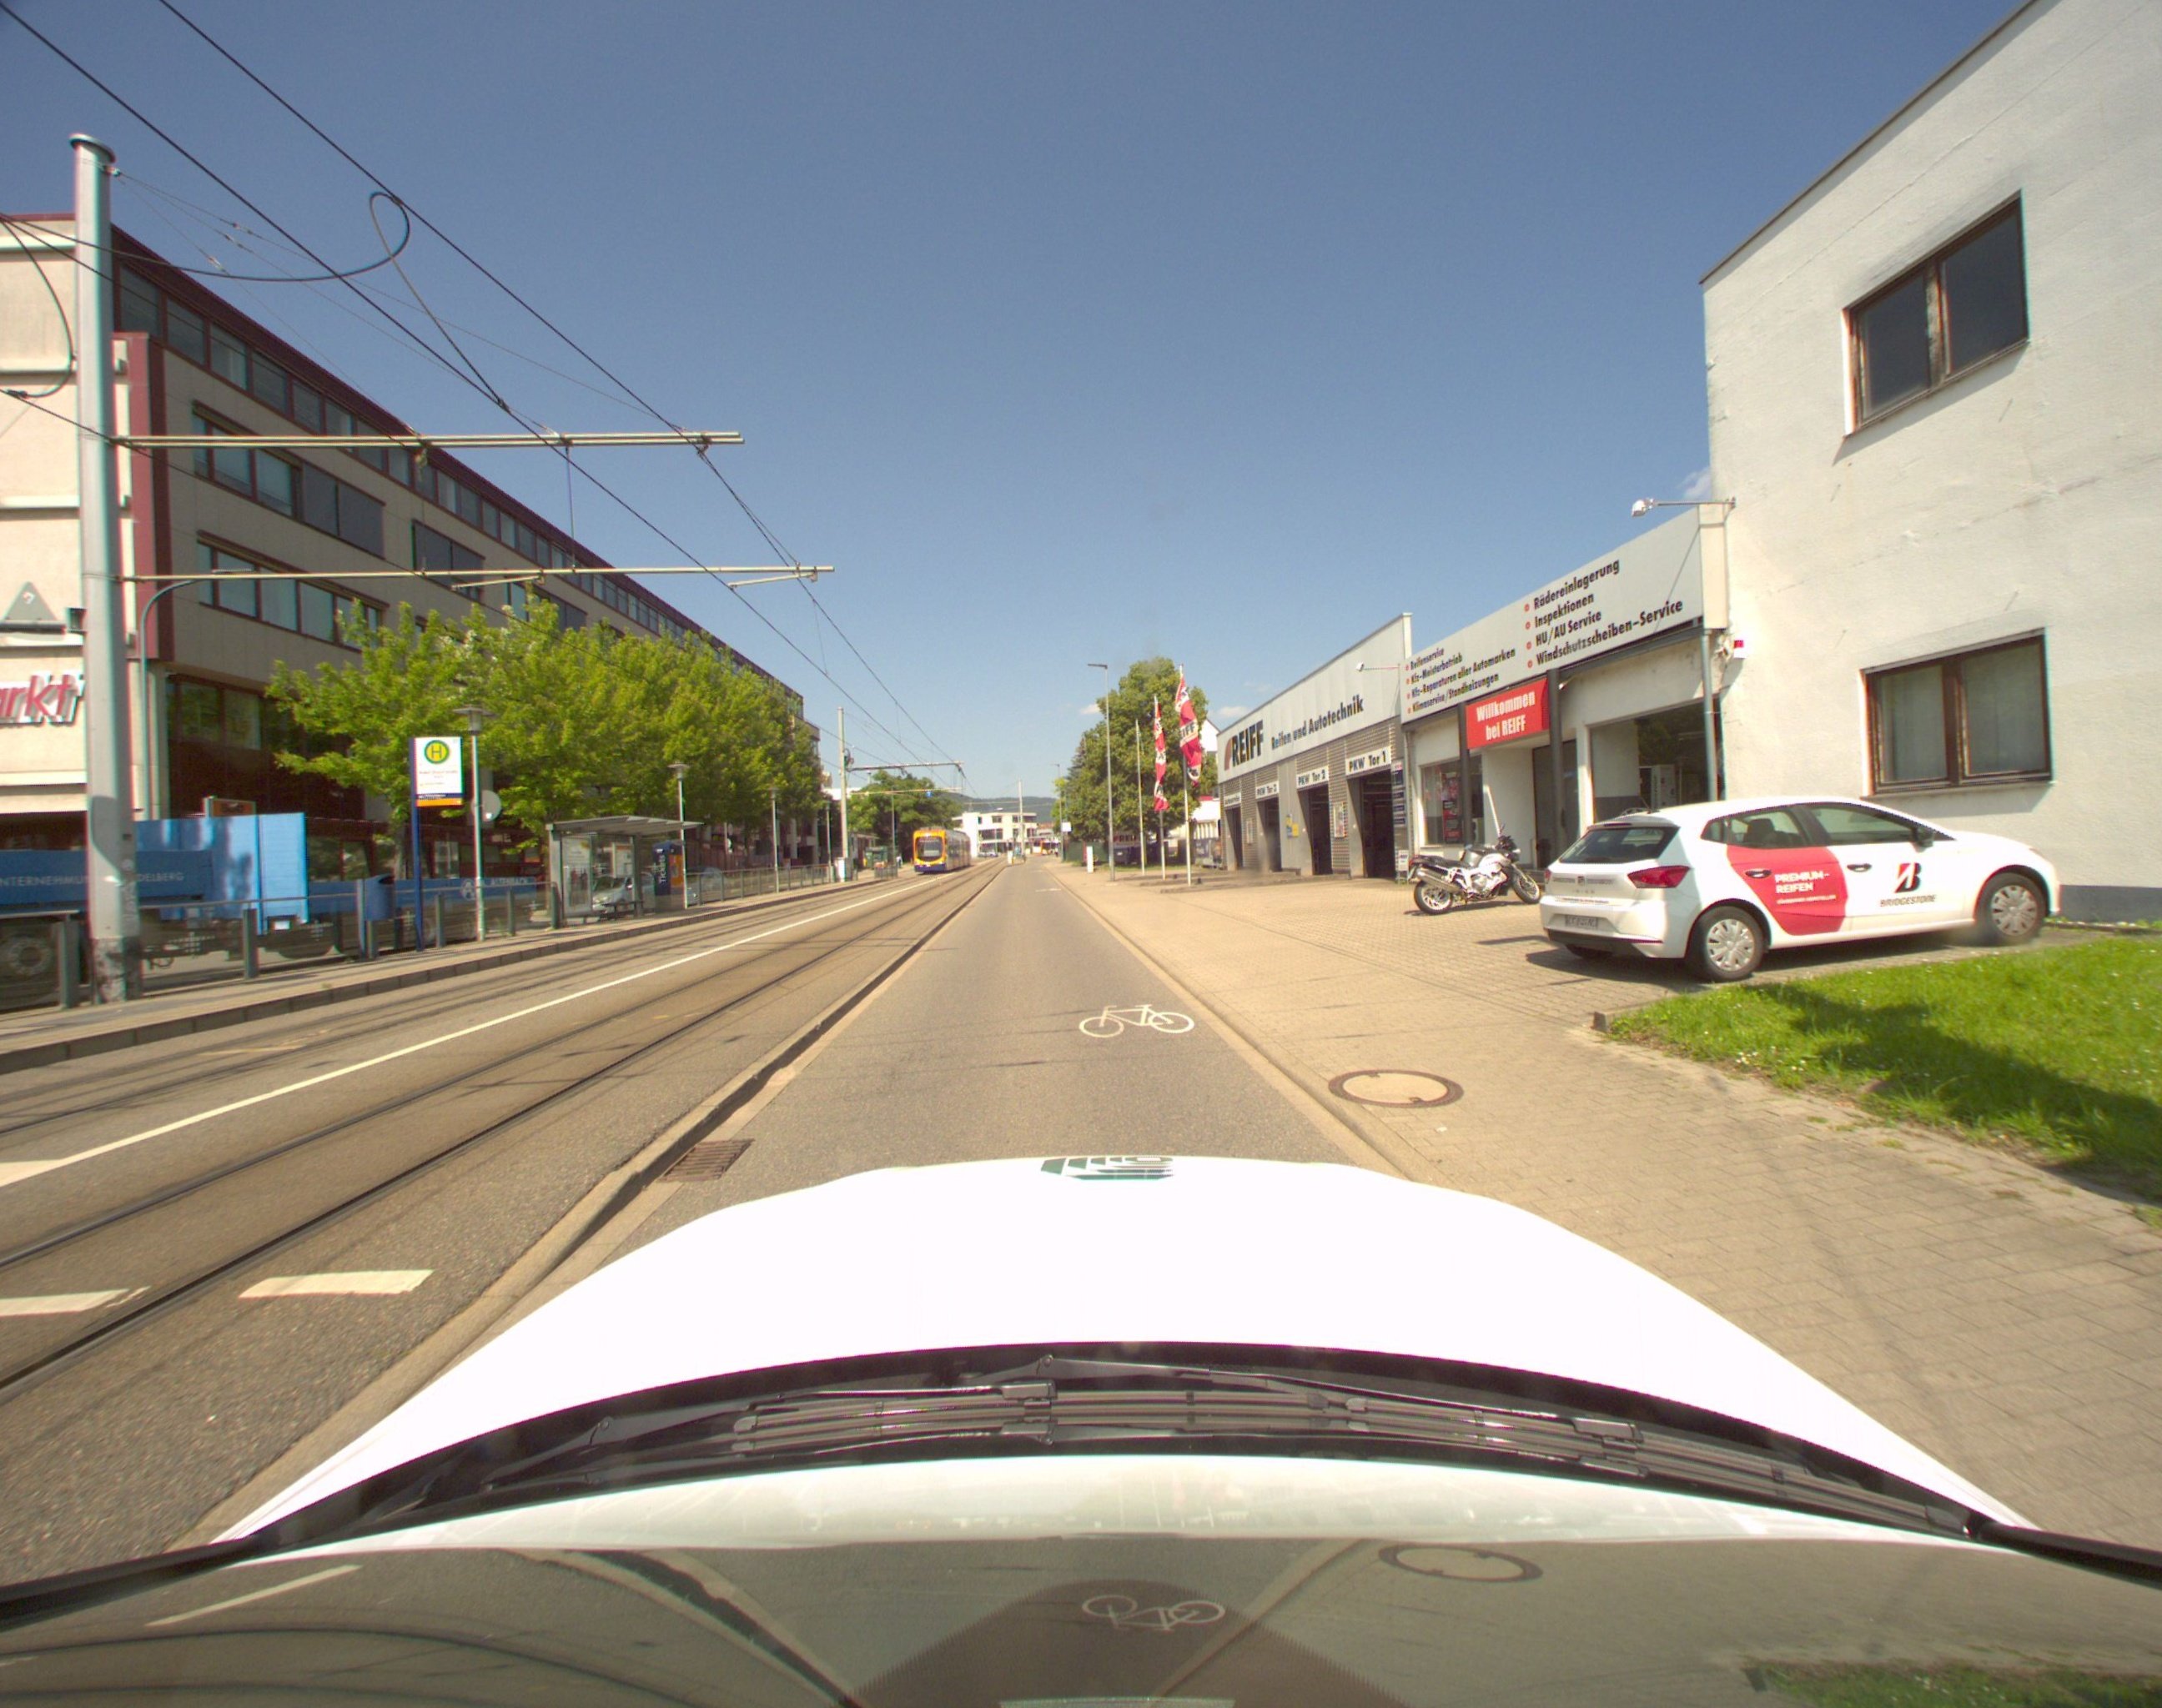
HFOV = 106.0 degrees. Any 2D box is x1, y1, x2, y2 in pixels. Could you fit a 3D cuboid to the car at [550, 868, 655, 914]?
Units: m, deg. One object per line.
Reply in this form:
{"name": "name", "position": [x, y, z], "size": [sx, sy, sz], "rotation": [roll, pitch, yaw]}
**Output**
{"name": "car", "position": [-17.684, 1.329, 30.330], "size": [1.719, 1.463, 3.900], "rotation": [-1, 1, -3]}

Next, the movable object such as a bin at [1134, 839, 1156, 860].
{"name": "movable object such as a bin", "position": [4.538, -0.331, 57.769], "size": [1.305, 1.430, 0.889], "rotation": [-3, -2, 21]}

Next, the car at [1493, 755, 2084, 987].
{"name": "car", "position": [6.325, 0.112, 7.583], "size": [3.983, 1.462, 1.886], "rotation": [-6, 0, -6]}

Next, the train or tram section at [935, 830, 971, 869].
{"name": "train or tram section", "position": [-12.144, -0.436, 77.718], "size": [2.576, 3.446, 7.125], "rotation": [-3, 0, -4]}

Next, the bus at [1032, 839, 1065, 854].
{"name": "bus", "position": [-6.977, -1.690, 177.841], "size": [2.412, 2.879, 8.849], "rotation": [-2, 1, 32]}

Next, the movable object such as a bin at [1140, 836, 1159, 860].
{"name": "movable object such as a bin", "position": [4.712, -0.423, 55.970], "size": [0.977, 1.547, 1.317], "rotation": [-2, -1, -8]}

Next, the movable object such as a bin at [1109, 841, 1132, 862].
{"name": "movable object such as a bin", "position": [2.826, -0.205, 58.197], "size": [1.372, 1.430, 0.996], "rotation": [-3, -2, 21]}

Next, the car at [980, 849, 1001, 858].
{"name": "car", "position": [-19.172, -0.105, 171.988], "size": [3.951, 1.750, 1.786], "rotation": [-2, 0, 24]}

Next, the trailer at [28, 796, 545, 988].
{"name": "trailer", "position": [-13.917, 0.504, 15.545], "size": [2.793, 2.628, 7.586], "rotation": [-3, 1, -6]}

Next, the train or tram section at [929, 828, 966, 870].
{"name": "train or tram section", "position": [-11.668, -0.405, 71.660], "size": [2.606, 3.446, 5.002], "rotation": [-3, 0, -5]}

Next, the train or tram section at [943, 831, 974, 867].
{"name": "train or tram section", "position": [-12.642, -0.487, 84.464], "size": [2.576, 3.446, 6.353], "rotation": [-3, 0, -4]}

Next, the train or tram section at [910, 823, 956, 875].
{"name": "train or tram section", "position": [-10.901, -0.372, 60.480], "size": [2.606, 3.532, 5.733], "rotation": [-3, 0, -4]}

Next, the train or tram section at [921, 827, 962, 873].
{"name": "train or tram section", "position": [-11.293, -0.345, 66.279], "size": [2.606, 3.446, 5.834], "rotation": [-3, 0, -4]}

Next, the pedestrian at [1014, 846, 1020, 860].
{"name": "pedestrian", "position": [-8.422, -0.135, 107.254], "size": [0.742, 1.740, 0.726], "rotation": [-3, 0, -5]}

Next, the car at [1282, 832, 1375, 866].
{"name": "car", "position": [11.614, -0.243, 38.298], "size": [3.760, 1.376, 1.720], "rotation": [-3, 0, -9]}

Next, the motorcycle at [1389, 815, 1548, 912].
{"name": "motorcycle", "position": [6.268, 0.149, 13.225], "size": [2.180, 1.308, 0.730], "rotation": [-6, 0, -6]}

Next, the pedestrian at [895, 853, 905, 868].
{"name": "pedestrian", "position": [-19.692, 0.707, 88.697], "size": [0.833, 1.537, 0.837], "rotation": [-3, 0, -5]}

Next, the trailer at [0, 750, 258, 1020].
{"name": "trailer", "position": [-13.232, 0.403, 8.373], "size": [2.739, 2.977, 6.887], "rotation": [-3, 1, -5]}

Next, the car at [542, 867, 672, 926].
{"name": "car", "position": [-14.565, 1.234, 25.307], "size": [1.720, 1.472, 4.272], "rotation": [-4, 1, -5]}

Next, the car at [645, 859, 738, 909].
{"name": "car", "position": [-14.757, 1.070, 31.106], "size": [1.720, 1.584, 4.064], "rotation": [-5, 1, -5]}
